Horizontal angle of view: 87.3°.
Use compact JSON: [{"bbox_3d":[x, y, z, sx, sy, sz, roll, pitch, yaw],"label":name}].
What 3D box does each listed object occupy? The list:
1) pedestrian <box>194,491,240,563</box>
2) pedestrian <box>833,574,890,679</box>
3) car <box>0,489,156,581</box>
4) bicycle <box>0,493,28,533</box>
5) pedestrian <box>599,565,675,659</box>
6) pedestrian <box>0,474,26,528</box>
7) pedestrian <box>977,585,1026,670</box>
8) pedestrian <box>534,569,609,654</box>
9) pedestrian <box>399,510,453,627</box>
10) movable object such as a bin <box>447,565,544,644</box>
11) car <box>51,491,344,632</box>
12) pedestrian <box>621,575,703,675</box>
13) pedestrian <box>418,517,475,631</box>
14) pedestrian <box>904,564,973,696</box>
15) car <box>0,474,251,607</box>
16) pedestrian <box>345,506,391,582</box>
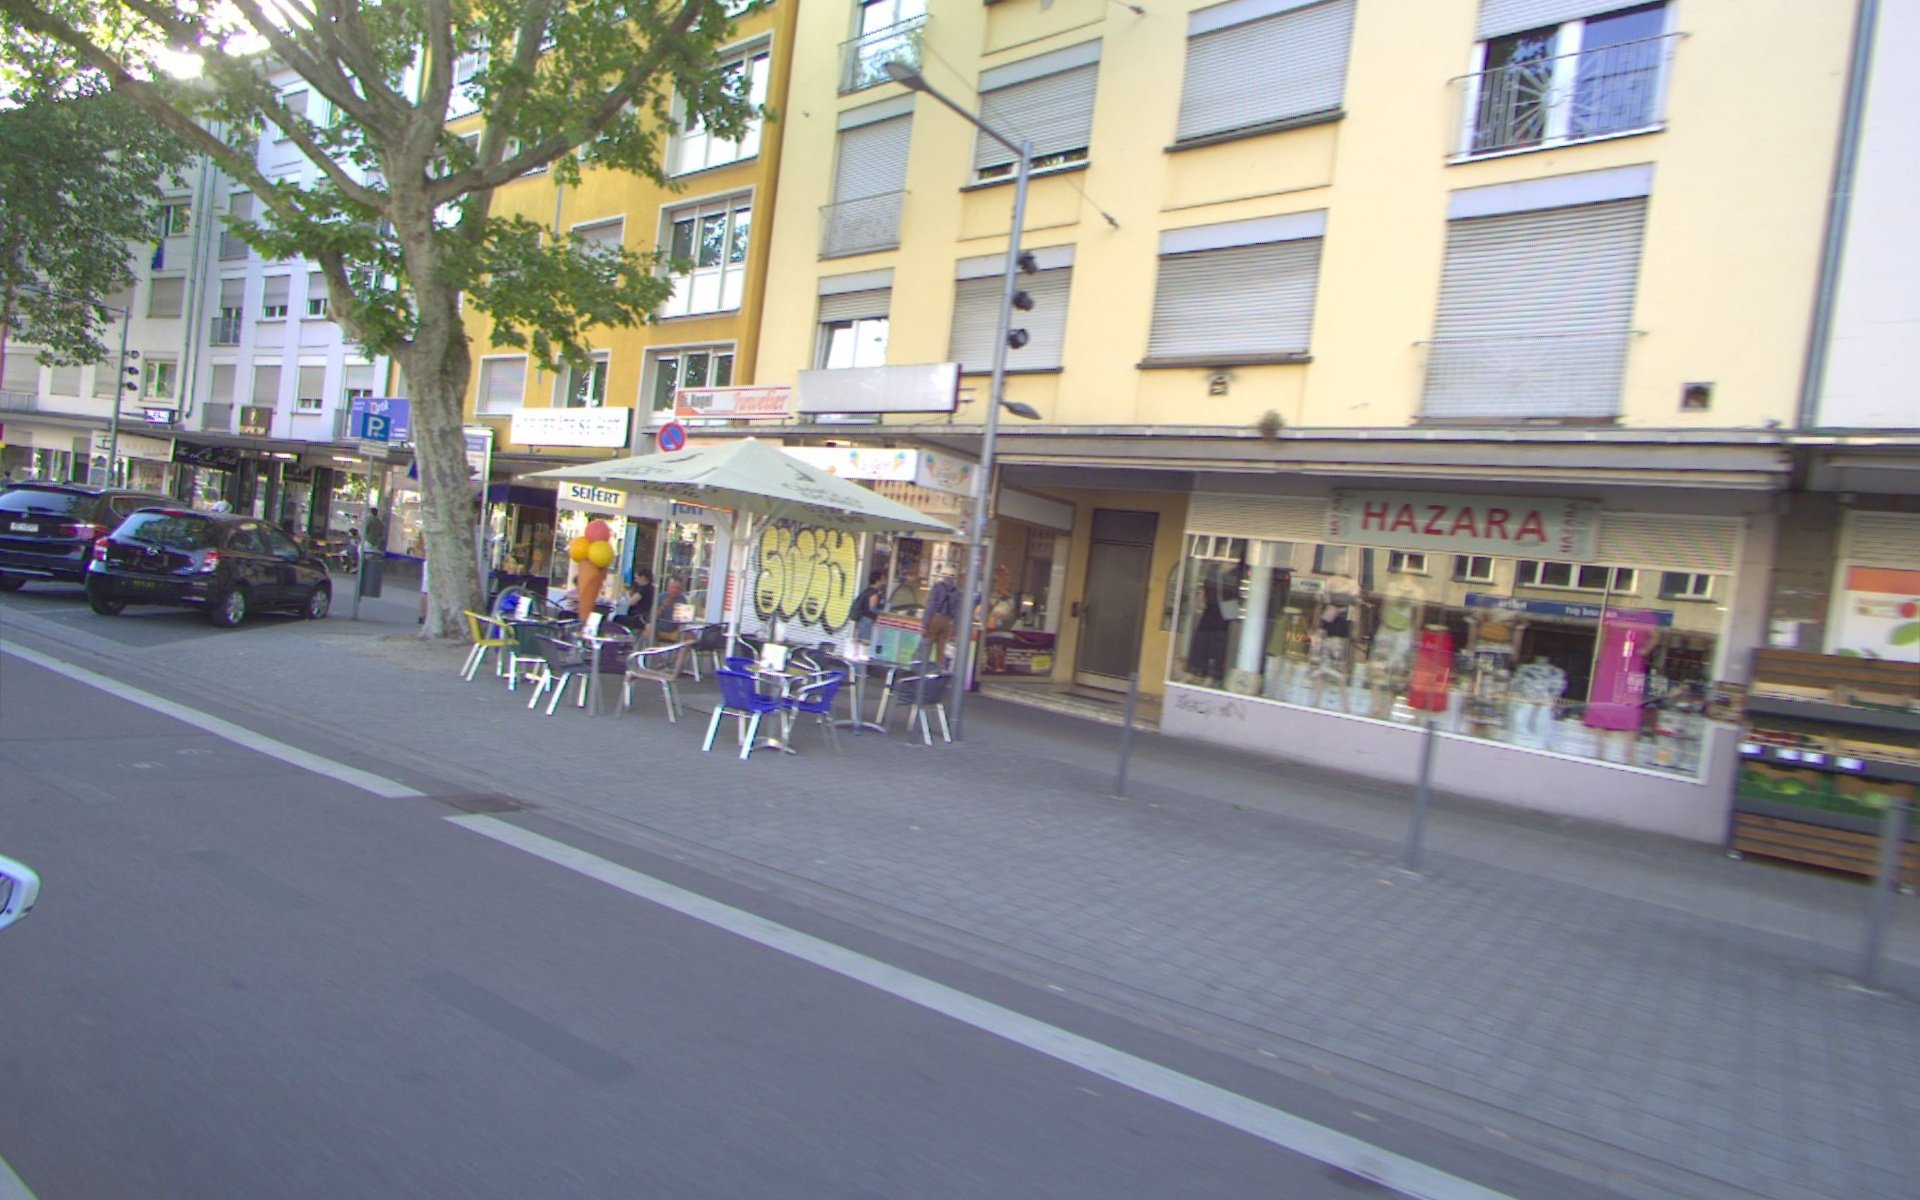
[{"bbox_3d":[-20.838,-2.051,28.212,0.811,1.900,0.643,7,1,33],"label":"pedestrian"},{"bbox_3d":[-1.540,0.411,15.681,0.618,1.567,0.633,2,3,-27],"label":"pedestrian"},{"bbox_3d":[-16.847,-1.201,17.991,1.778,1.469,4.173,7,0,-6],"label":"car"},{"bbox_3d":[-30.284,-2.785,31.317,0.668,1.169,1.761,8,2,40],"label":"bicycle"},{"bbox_3d":[-4.844,0.185,15.096,0.746,1.290,0.584,7,-1,32],"label":"pedestrian"},{"bbox_3d":[-33.887,-3.524,35.694,0.751,1.816,0.781,7,1,32],"label":"pedestrian"},{"bbox_3d":[0.678,0.454,16.433,0.500,1.313,0.426,7,1,36],"label":"pedestrian"},{"bbox_3d":[-5.778,0.173,14.976,0.738,1.128,0.584,7,-1,32],"label":"pedestrian"},{"bbox_3d":[-8.790,-0.518,16.572,0.466,1.856,0.517,5,2,4],"label":"pedestrian"},{"bbox_3d":[-6.991,0.079,15.187,0.824,1.035,0.930,8,-1,11],"label":"movable object such as a bin"},{"bbox_3d":[-10.667,-0.502,14.433,1.712,1.559,3.602,7,0,-9],"label":"car"},{"bbox_3d":[-3.991,0.337,13.478,0.733,1.240,0.606,7,1,32],"label":"pedestrian"},{"bbox_3d":[-8.661,-0.422,16.980,0.466,1.855,0.517,7,1,10],"label":"pedestrian"},{"bbox_3d":[-0.326,0.430,14.670,0.629,1.826,0.623,6,1,-23],"label":"pedestrian"},{"bbox_3d":[-13.365,-0.889,15.862,1.779,1.702,4.144,7,0,-9],"label":"car"},{"bbox_3d":[-15.001,-1.415,25.489,0.776,1.816,0.705,8,4,37],"label":"pedestrian"}]
